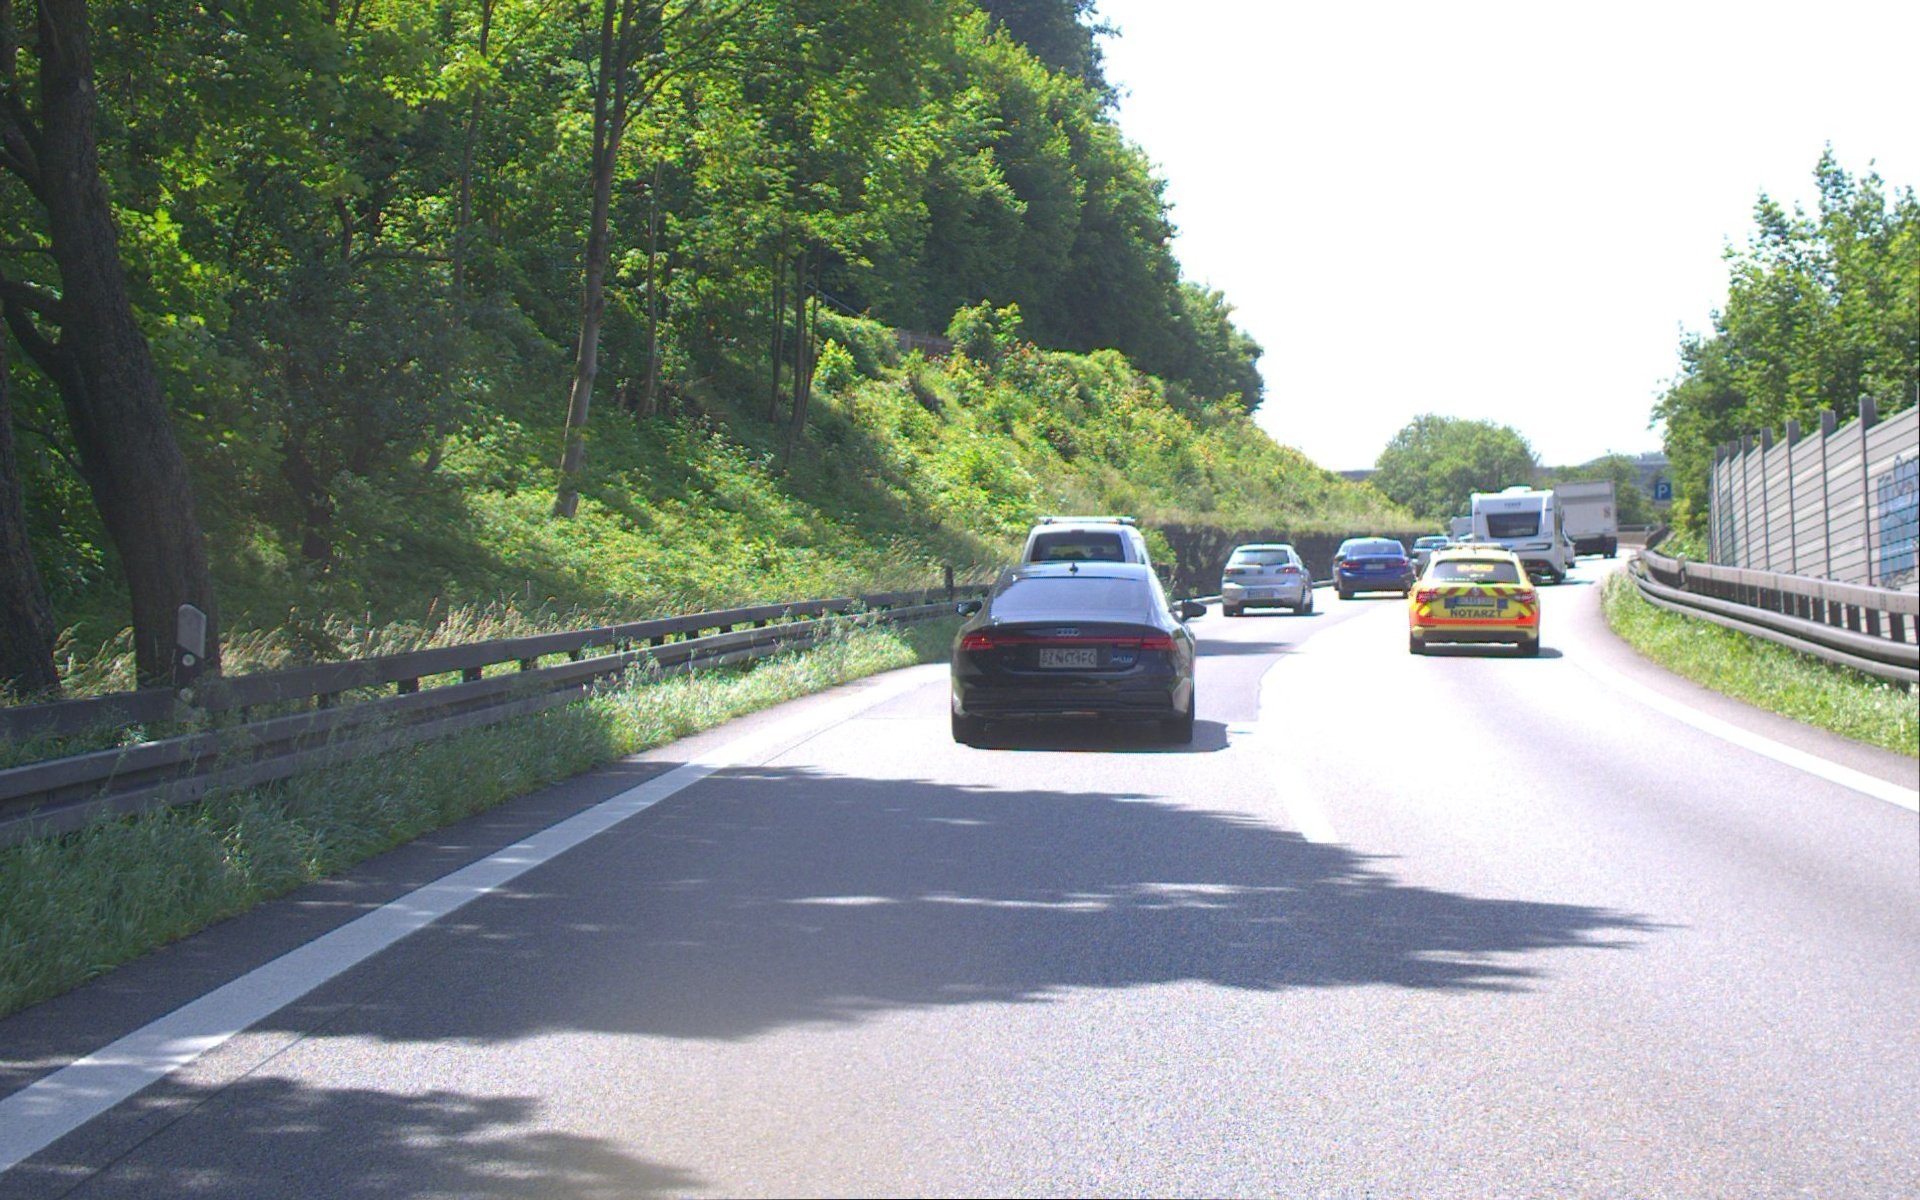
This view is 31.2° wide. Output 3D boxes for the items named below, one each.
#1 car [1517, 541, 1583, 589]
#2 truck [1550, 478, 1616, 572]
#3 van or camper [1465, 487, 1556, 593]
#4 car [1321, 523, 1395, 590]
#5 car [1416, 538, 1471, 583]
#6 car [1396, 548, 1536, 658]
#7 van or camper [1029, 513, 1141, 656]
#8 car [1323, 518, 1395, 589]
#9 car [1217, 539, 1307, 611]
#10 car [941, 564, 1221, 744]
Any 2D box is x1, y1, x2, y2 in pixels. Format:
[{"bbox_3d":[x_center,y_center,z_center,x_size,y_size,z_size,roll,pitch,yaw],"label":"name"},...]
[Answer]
[{"bbox_3d":[21.707,-1.289,126.464,1.995,1.711,3.997,-1,1,15],"label":"car"},{"bbox_3d":[27.831,-3.313,153.343,2.734,4.082,7.476,0,1,11],"label":"truck"},{"bbox_3d":[15.665,-1.664,97.601,2.456,2.908,6.123,0,0,10],"label":"van or camper"},{"bbox_3d":[9.871,-1.063,85.448,1.774,1.631,3.999,0,0,6],"label":"car"},{"bbox_3d":[18.397,-1.509,130.688,1.842,1.711,3.998,0,1,11],"label":"car"},{"bbox_3d":[7.139,0.039,48.757,1.863,1.483,3.999,0,0,7],"label":"car"},{"bbox_3d":[1.685,-0.202,45.449,1.392,1.809,4.000,0,0,3],"label":"van or camper"},{"bbox_3d":[11.685,-1.372,100.516,1.994,2.007,3.999,-1,1,8],"label":"car"},{"bbox_3d":[6.180,-0.498,70.105,1.747,1.426,3.999,0,0,6],"label":"car"},{"bbox_3d":[1.053,0.399,27.797,1.838,1.345,3.999,0,0,8],"label":"car"}]
